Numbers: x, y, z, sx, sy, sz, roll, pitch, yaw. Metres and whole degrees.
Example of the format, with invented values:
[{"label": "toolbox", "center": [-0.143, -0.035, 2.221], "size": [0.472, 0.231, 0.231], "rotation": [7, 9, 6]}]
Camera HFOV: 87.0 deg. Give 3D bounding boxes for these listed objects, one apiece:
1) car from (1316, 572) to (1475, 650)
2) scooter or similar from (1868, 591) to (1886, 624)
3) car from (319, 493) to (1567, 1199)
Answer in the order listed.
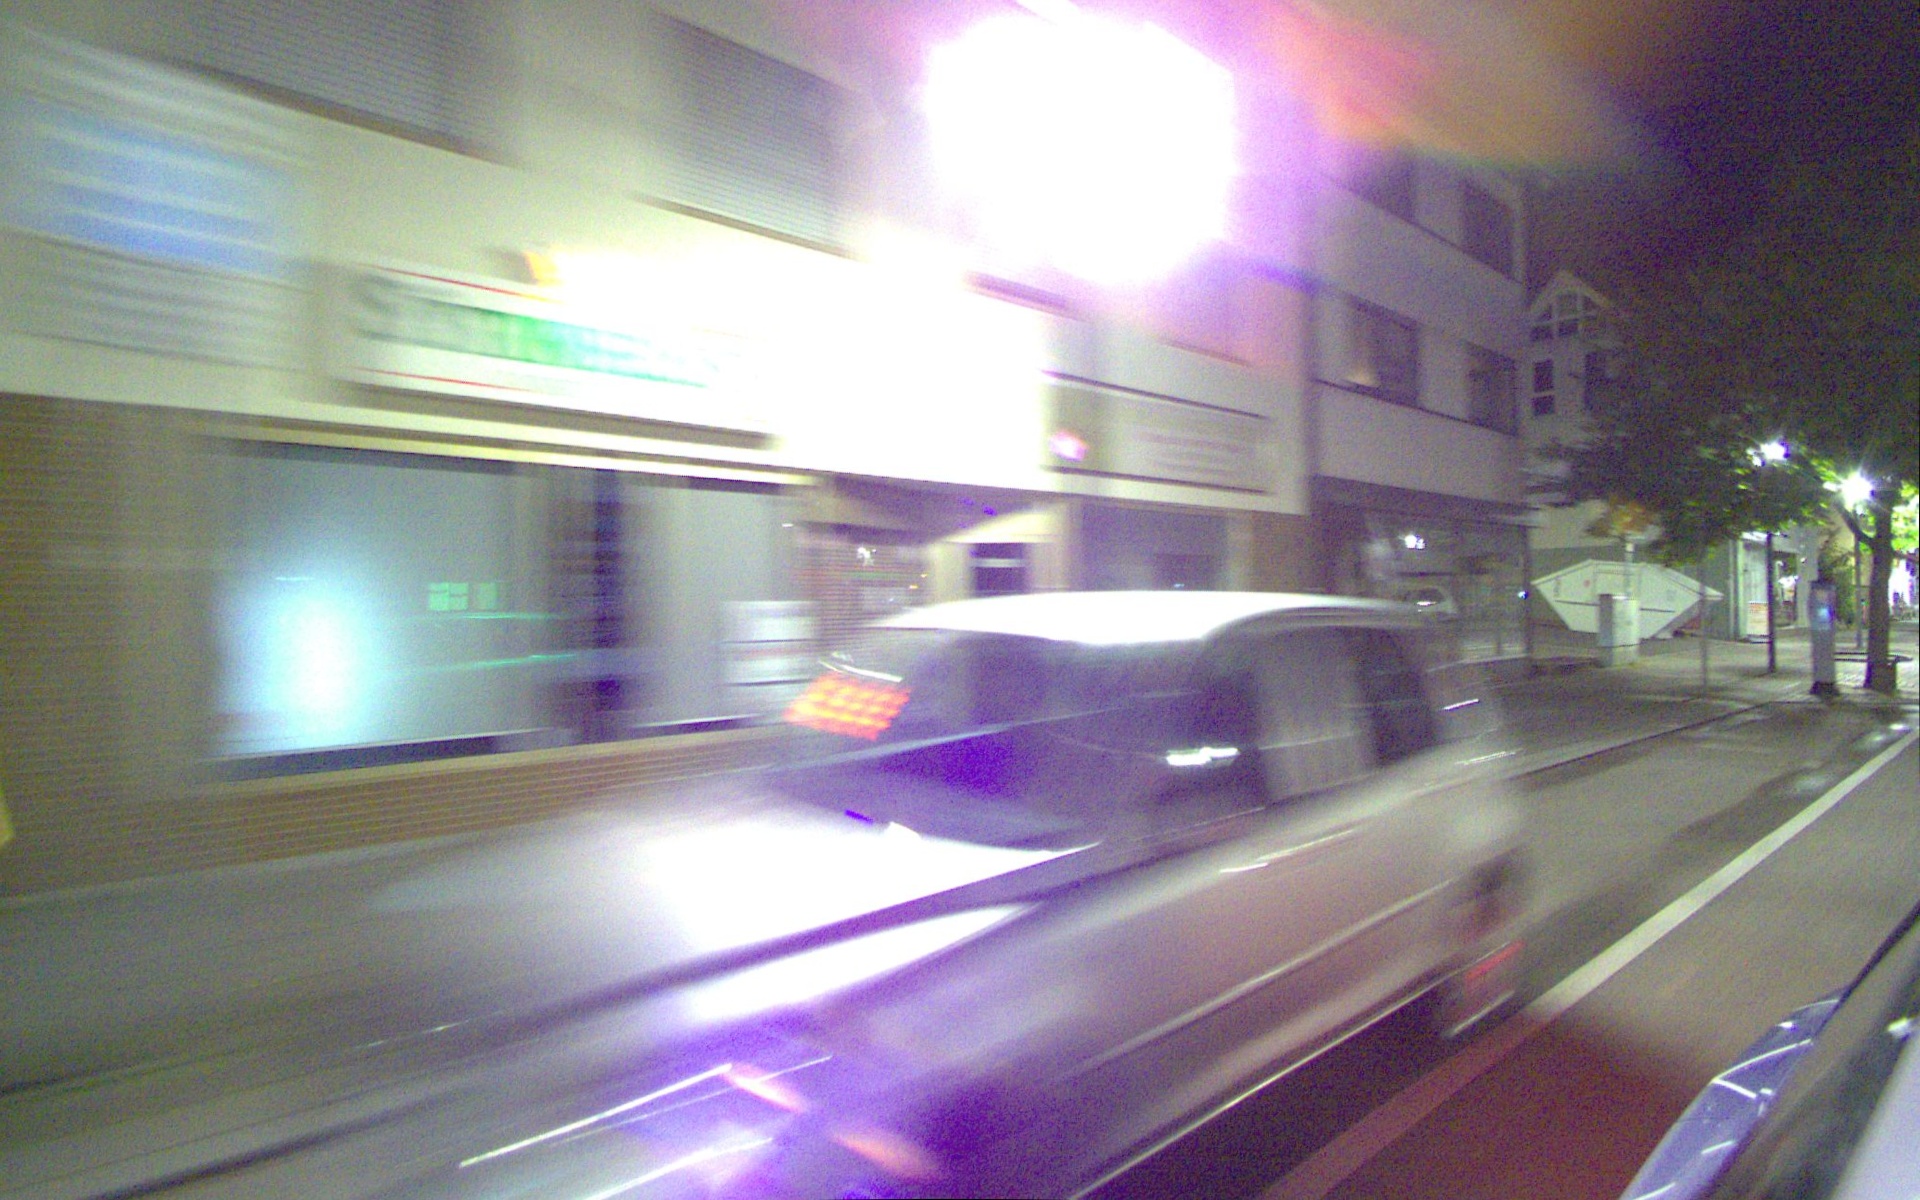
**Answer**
[{"label": "car", "center": [10.022, 0.183, 23.154], "size": [3.988, 1.477, 1.808], "rotation": [-3, 6, -42]}, {"label": "scooter or similar", "center": [37.453, 0.316, 41.346], "size": [1.282, 1.292, 0.374], "rotation": [-2, 1, -40]}, {"label": "car", "center": [0.312, 0.590, 3.082], "size": [3.613, 1.478, 1.677], "rotation": [-1, 0, -42]}]
